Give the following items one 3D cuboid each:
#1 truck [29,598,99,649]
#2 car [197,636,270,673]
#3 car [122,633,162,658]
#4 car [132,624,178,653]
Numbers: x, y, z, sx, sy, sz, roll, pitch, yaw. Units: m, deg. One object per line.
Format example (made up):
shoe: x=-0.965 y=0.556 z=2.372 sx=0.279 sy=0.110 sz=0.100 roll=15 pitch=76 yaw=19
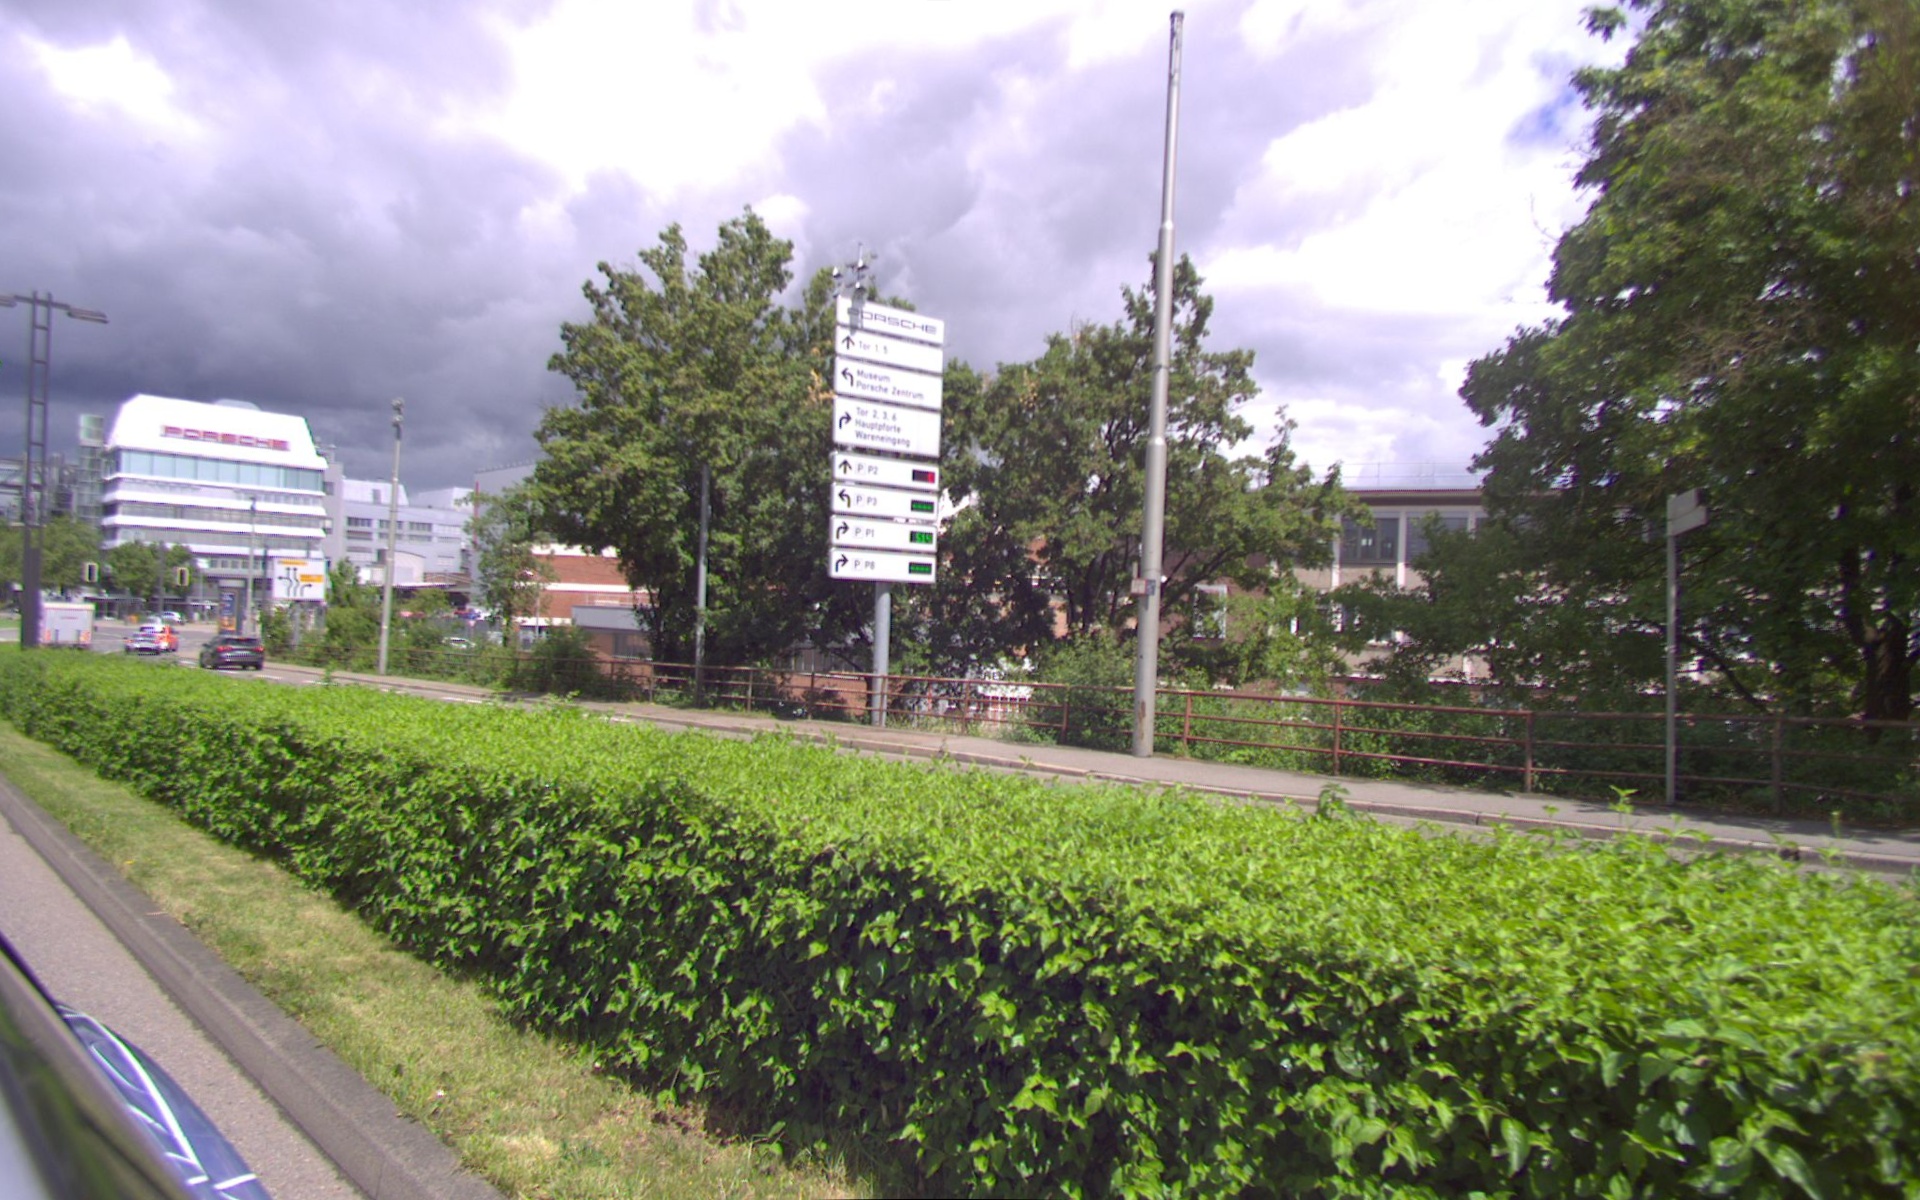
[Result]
truck: x=-56.492 y=1.574 z=63.729 sx=2.822 sy=2.879 sz=9.382 roll=2 pitch=-4 yaw=-44
car: x=-31.340 y=2.310 z=43.629 sx=1.818 sy=1.519 sz=4.564 roll=3 pitch=-3 yaw=-45
car: x=-52.392 y=2.898 z=64.876 sx=1.772 sy=1.433 sz=4.502 roll=3 pitch=-3 yaw=-36
car: x=-56.244 y=2.653 z=70.778 sx=1.966 sy=1.973 sz=4.641 roll=1 pitch=-2 yaw=-33
